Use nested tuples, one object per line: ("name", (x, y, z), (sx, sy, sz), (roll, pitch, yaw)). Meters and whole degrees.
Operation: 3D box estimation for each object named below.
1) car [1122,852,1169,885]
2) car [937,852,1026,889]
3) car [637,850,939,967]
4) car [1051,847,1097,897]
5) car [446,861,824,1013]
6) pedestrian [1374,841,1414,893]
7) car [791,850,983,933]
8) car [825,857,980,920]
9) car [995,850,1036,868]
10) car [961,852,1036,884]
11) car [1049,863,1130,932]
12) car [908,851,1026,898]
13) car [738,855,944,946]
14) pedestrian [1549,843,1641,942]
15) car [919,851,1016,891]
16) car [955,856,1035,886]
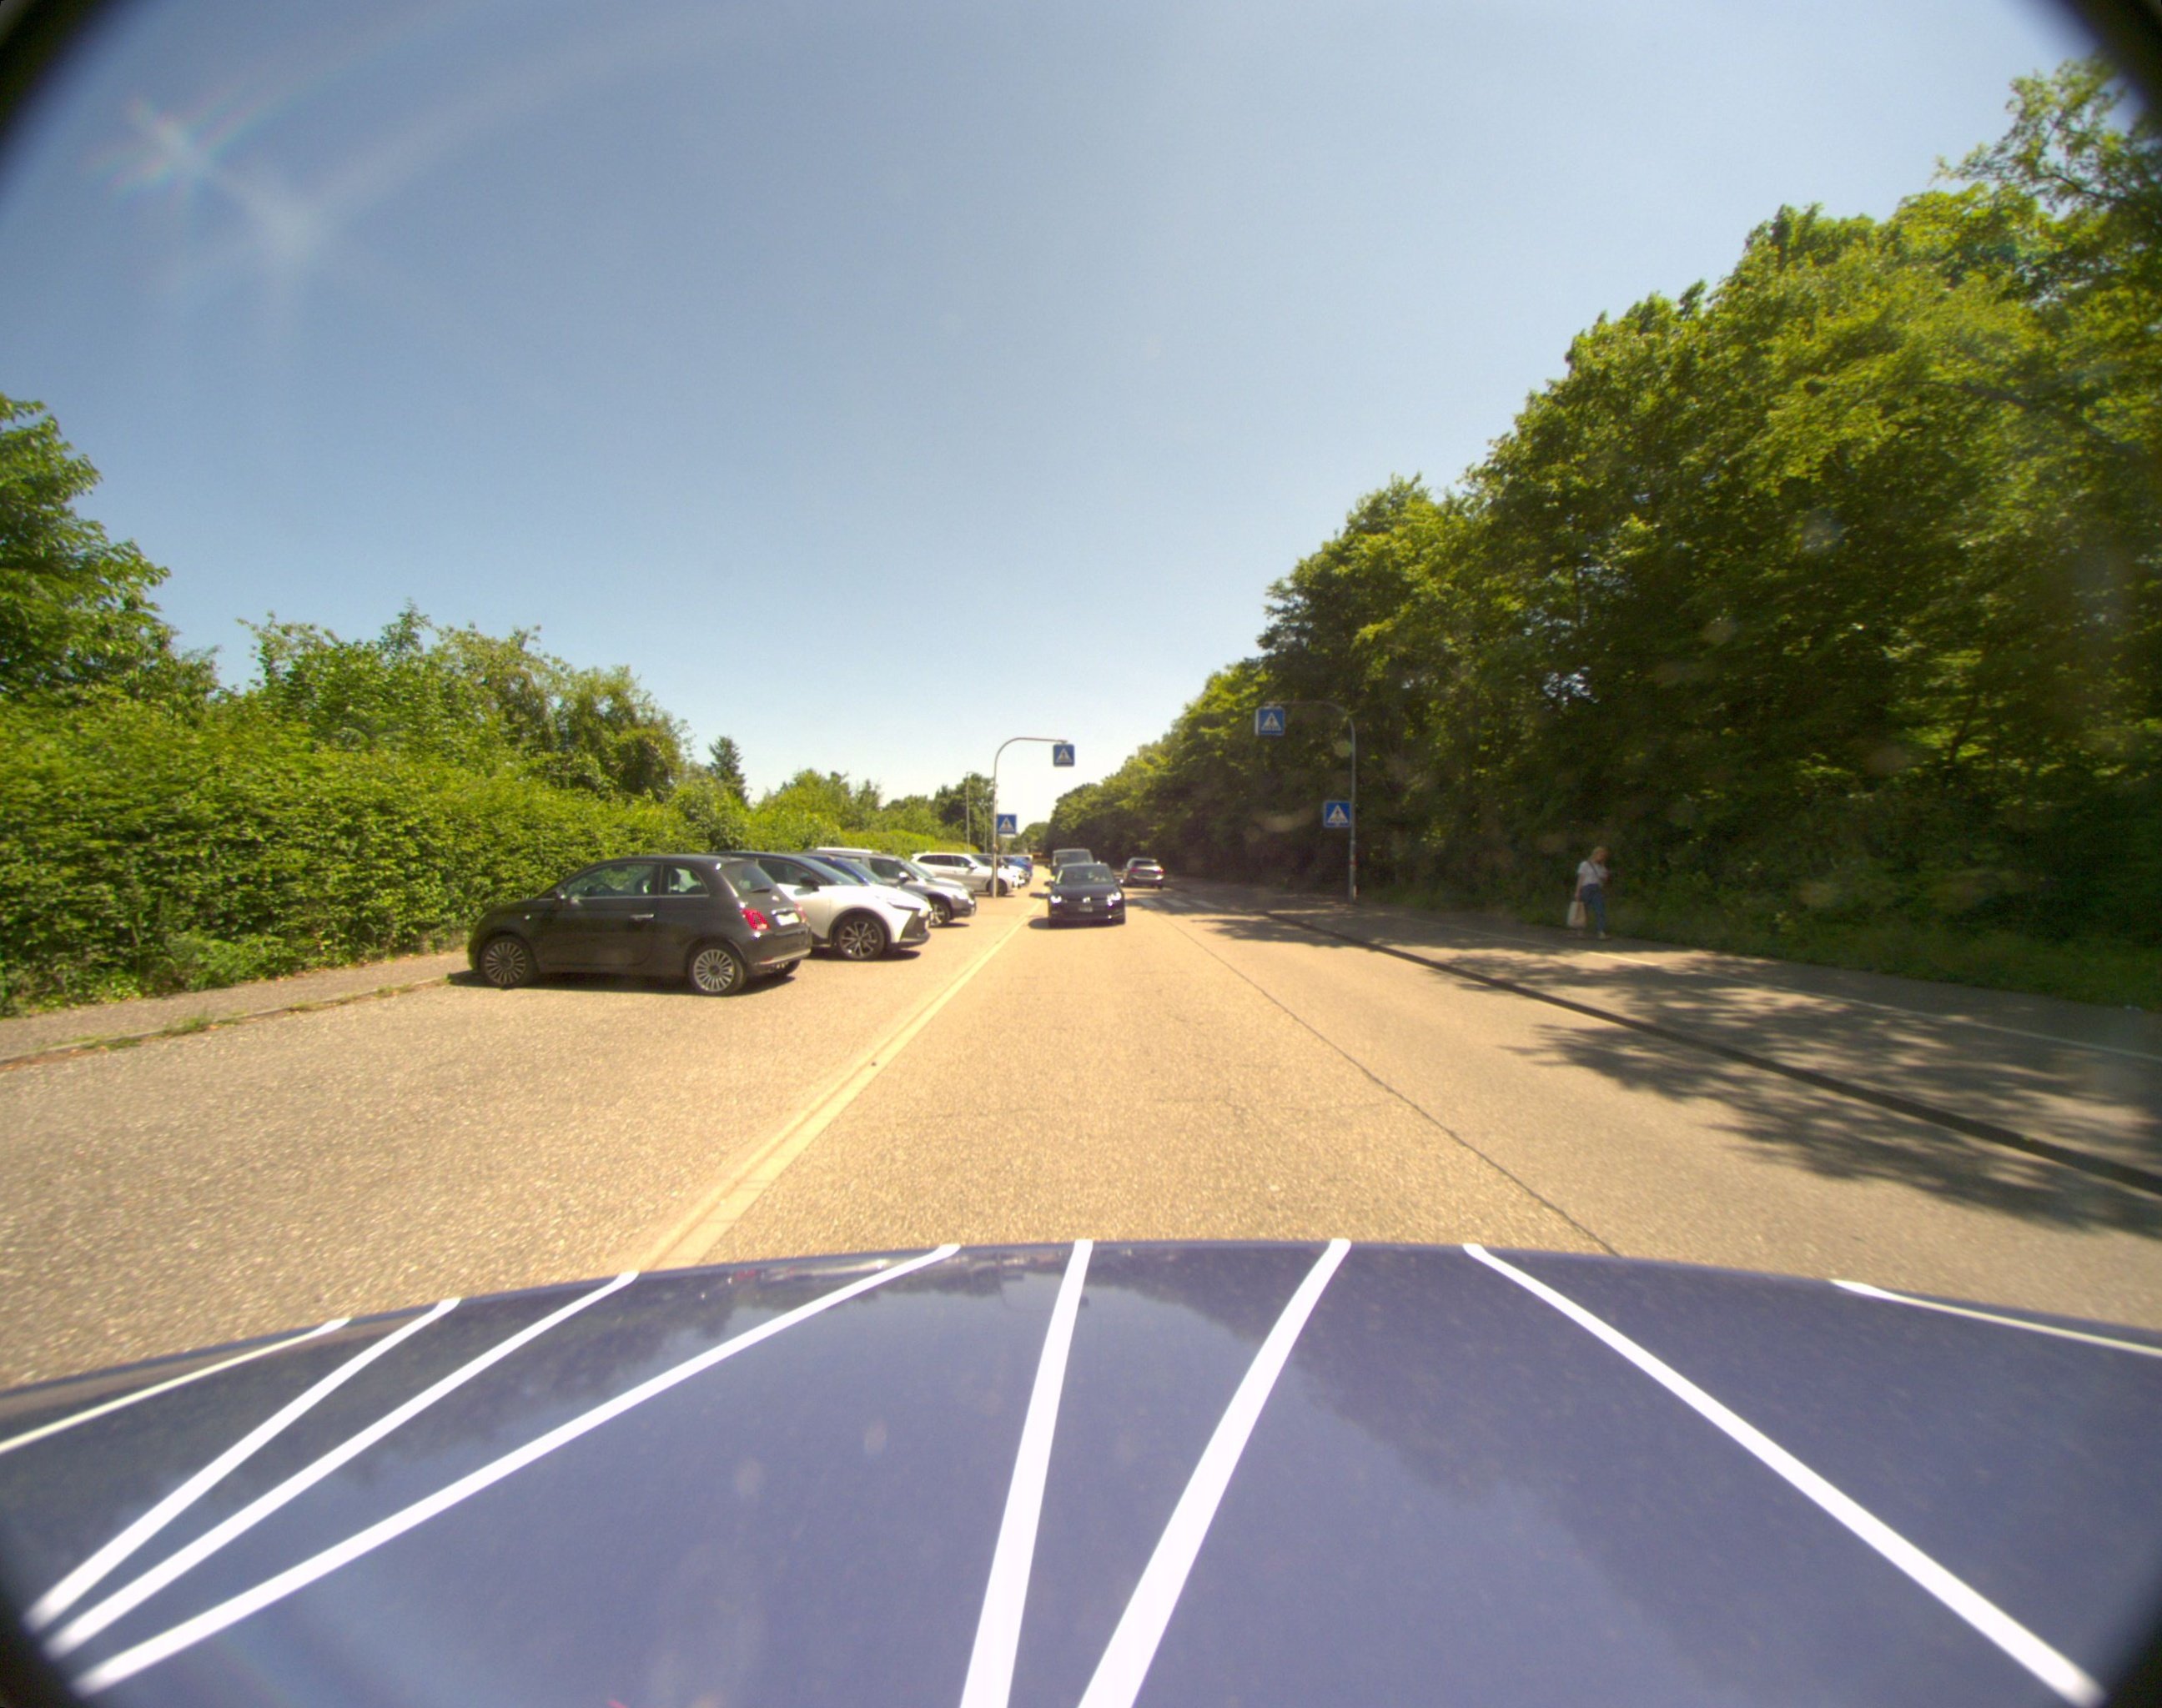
("car", (3.317, 0.714, 39.715), (1.896, 1.523, 4.196), (3, 0, -1))
("car", (-4.825, 0.774, 37.419), (4.171, 1.632, 1.775), (2, 1, -3))
("car", (-4.335, 0.794, 11.820), (3.974, 1.514, 1.863), (3, 0, -6))
("car", (-0.347, 0.702, 31.792), (1.743, 1.905, 4.387), (-2, 0, -2))
("car", (-4.947, 0.860, 8.719), (3.395, 1.495, 1.588), (1, 0, 3))
("pedestrian", (11.420, 0.473, 27.748), (1.086, 1.853, 0.783), (-1, 0, -8))
("car", (-4.328, 0.831, 17.444), (3.972, 1.631, 1.663), (3, 0, -4))
("car", (-4.736, 0.894, 20.485), (3.697, 1.442, 1.610), (3, 0, 3))
("car", (-7.388, 0.555, 85.821), (4.494, 1.840, 1.694), (2, 0, -5))
("car", (-4.637, 0.771, 43.245), (4.036, 1.632, 1.673), (2, 1, -1))
("car", (0.110, 0.977, 18.847), (1.743, 1.396, 4.387), (-2, 0, -2))
("car", (-4.532, 0.793, 30.771), (4.465, 1.720, 1.850), (1, 1, 0))
("car", (-4.497, 0.860, 14.636), (3.463, 1.518, 1.539), (3, 0, -5))
("pedestrian", (8.691, 0.632, 12.875), (0.934, 1.603, 0.885), (-1, 1, -1))
("car", (-4.932, 0.734, 33.456), (3.983, 1.676, 1.766), (1, 0, -1))
("car", (-4.519, 0.880, 40.337), (4.037, 1.401, 1.679), (2, 1, -2))
